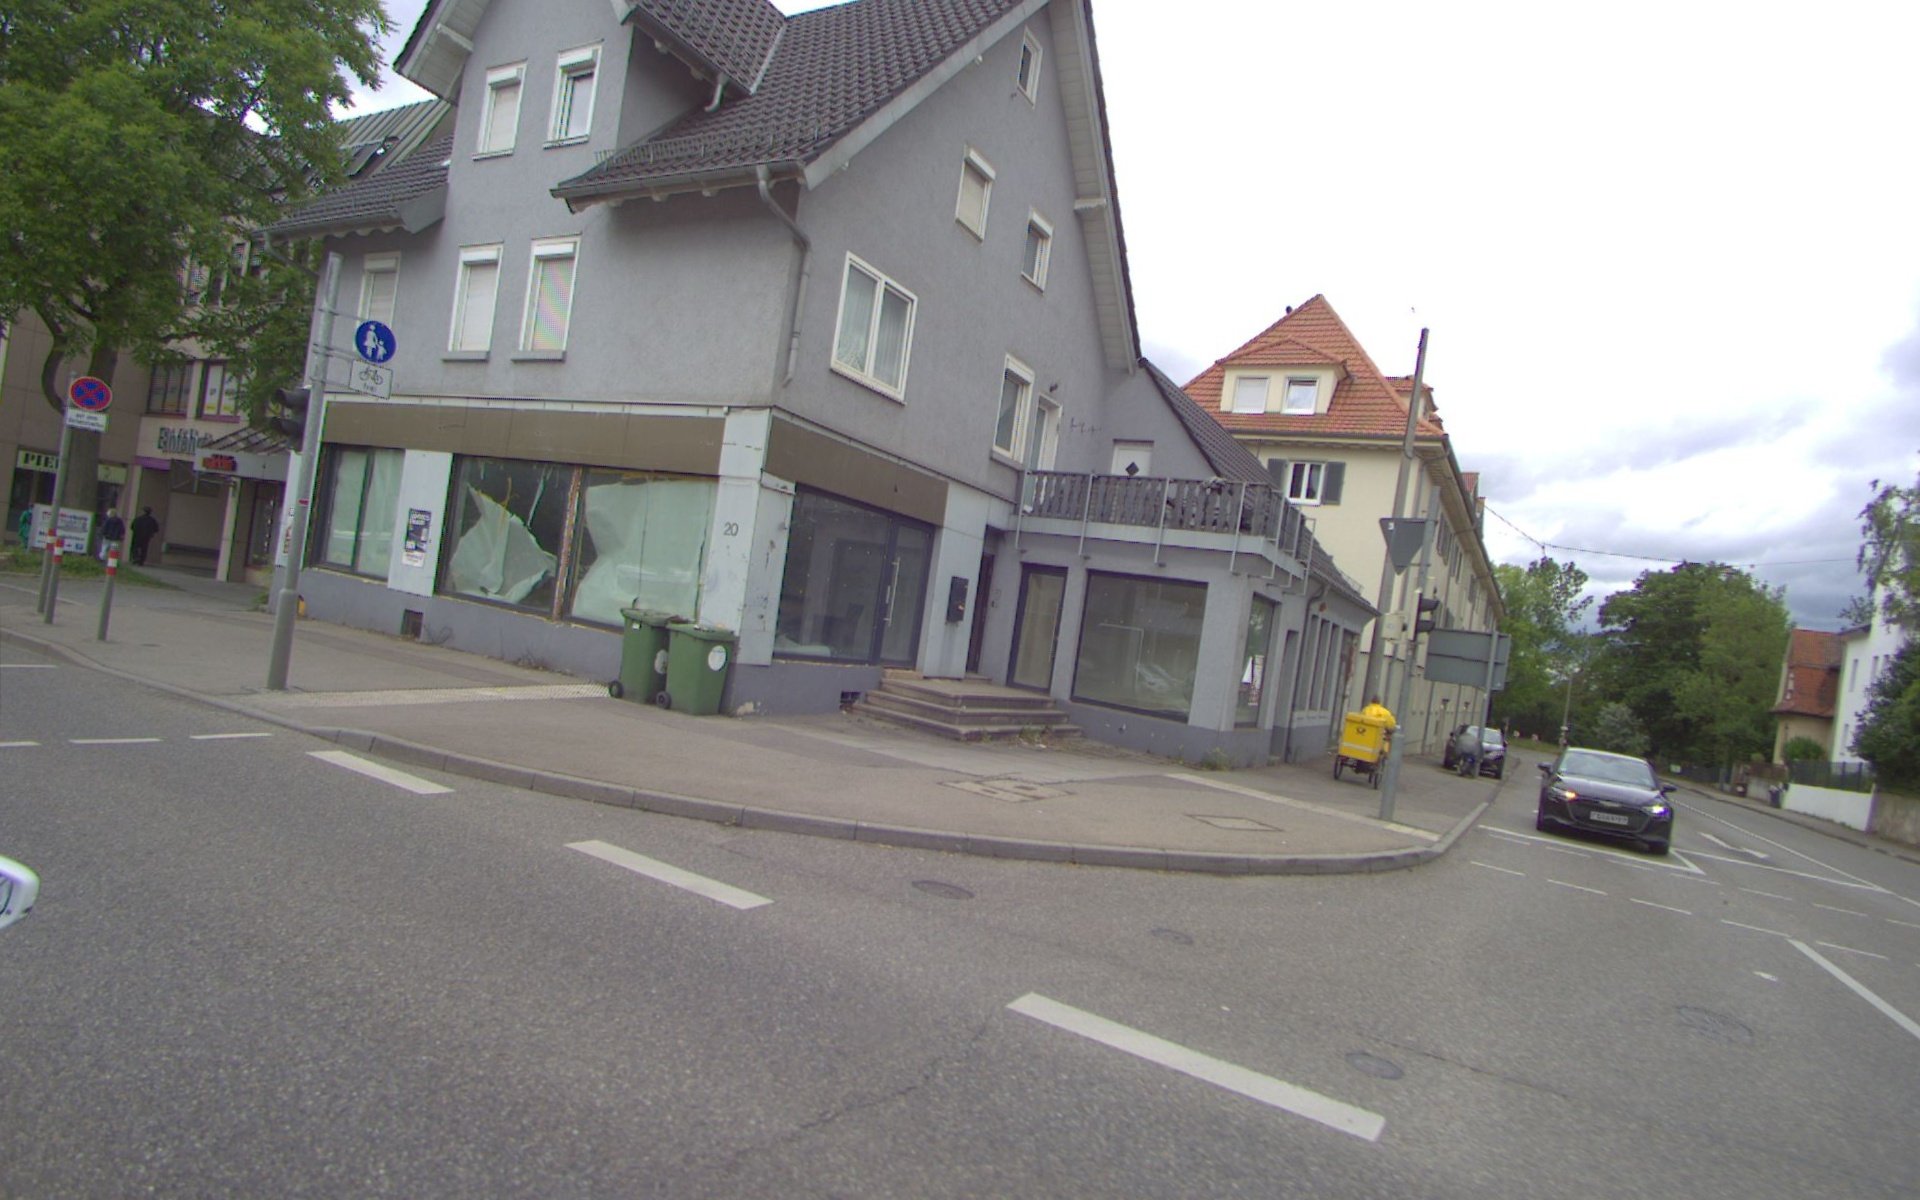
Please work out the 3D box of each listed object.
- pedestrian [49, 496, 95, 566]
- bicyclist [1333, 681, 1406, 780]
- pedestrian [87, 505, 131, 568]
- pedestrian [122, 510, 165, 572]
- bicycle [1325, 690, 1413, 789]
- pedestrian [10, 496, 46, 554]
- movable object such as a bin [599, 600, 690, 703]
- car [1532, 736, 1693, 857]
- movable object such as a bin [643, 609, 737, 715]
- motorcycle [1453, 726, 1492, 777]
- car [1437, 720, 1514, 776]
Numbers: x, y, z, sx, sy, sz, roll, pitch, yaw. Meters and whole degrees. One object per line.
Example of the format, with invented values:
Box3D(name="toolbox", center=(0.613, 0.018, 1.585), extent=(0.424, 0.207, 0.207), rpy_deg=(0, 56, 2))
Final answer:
Box3D(name="pedestrian", center=(-25.045, -1.938, 28.367), extent=(0.829, 1.849, 0.658), rpy_deg=(6, 1, 31))
Box3D(name="bicyclist", center=(7.660, 2.418, 18.779), extent=(0.946, 1.616, 0.938), rpy_deg=(11, 0, 26))
Box3D(name="pedestrian", center=(-24.544, -1.835, 29.017), extent=(0.829, 1.712, 0.658), rpy_deg=(6, 1, 31))
Box3D(name="pedestrian", center=(-24.097, -1.739, 29.688), extent=(0.829, 1.712, 0.658), rpy_deg=(6, 1, 31))
Box3D(name="bicycle", center=(7.652, 2.586, 18.724), extent=(0.946, 1.525, 2.685), rpy_deg=(11, -1, 30))
Box3D(name="pedestrian", center=(-26.672, -2.145, 28.791), extent=(0.535, 1.569, 0.561), rpy_deg=(6, 1, 31))
Box3D(name="movable object such as a bin", center=(-3.756, 0.618, 11.976), extent=(0.698, 1.117, 0.610), rpy_deg=(7, -1, 31))
Box3D(name="car", center=(10.760, 3.158, 16.879), extent=(1.876, 1.437, 4.354), rpy_deg=(6, -3, 30))
Box3D(name="movable object such as a bin", center=(-3.109, 0.720, 11.602), extent=(0.698, 1.117, 0.627), rpy_deg=(7, -1, 31))
Box3D(name="motorcycle", center=(15.205, 4.476, 29.796), extent=(0.674, 1.331, 2.310), rpy_deg=(9, -1, 32))
Box3D(name="car", center=(17.582, 5.000, 34.246), extent=(1.966, 1.480, 4.088), rpy_deg=(8, -3, 31))
